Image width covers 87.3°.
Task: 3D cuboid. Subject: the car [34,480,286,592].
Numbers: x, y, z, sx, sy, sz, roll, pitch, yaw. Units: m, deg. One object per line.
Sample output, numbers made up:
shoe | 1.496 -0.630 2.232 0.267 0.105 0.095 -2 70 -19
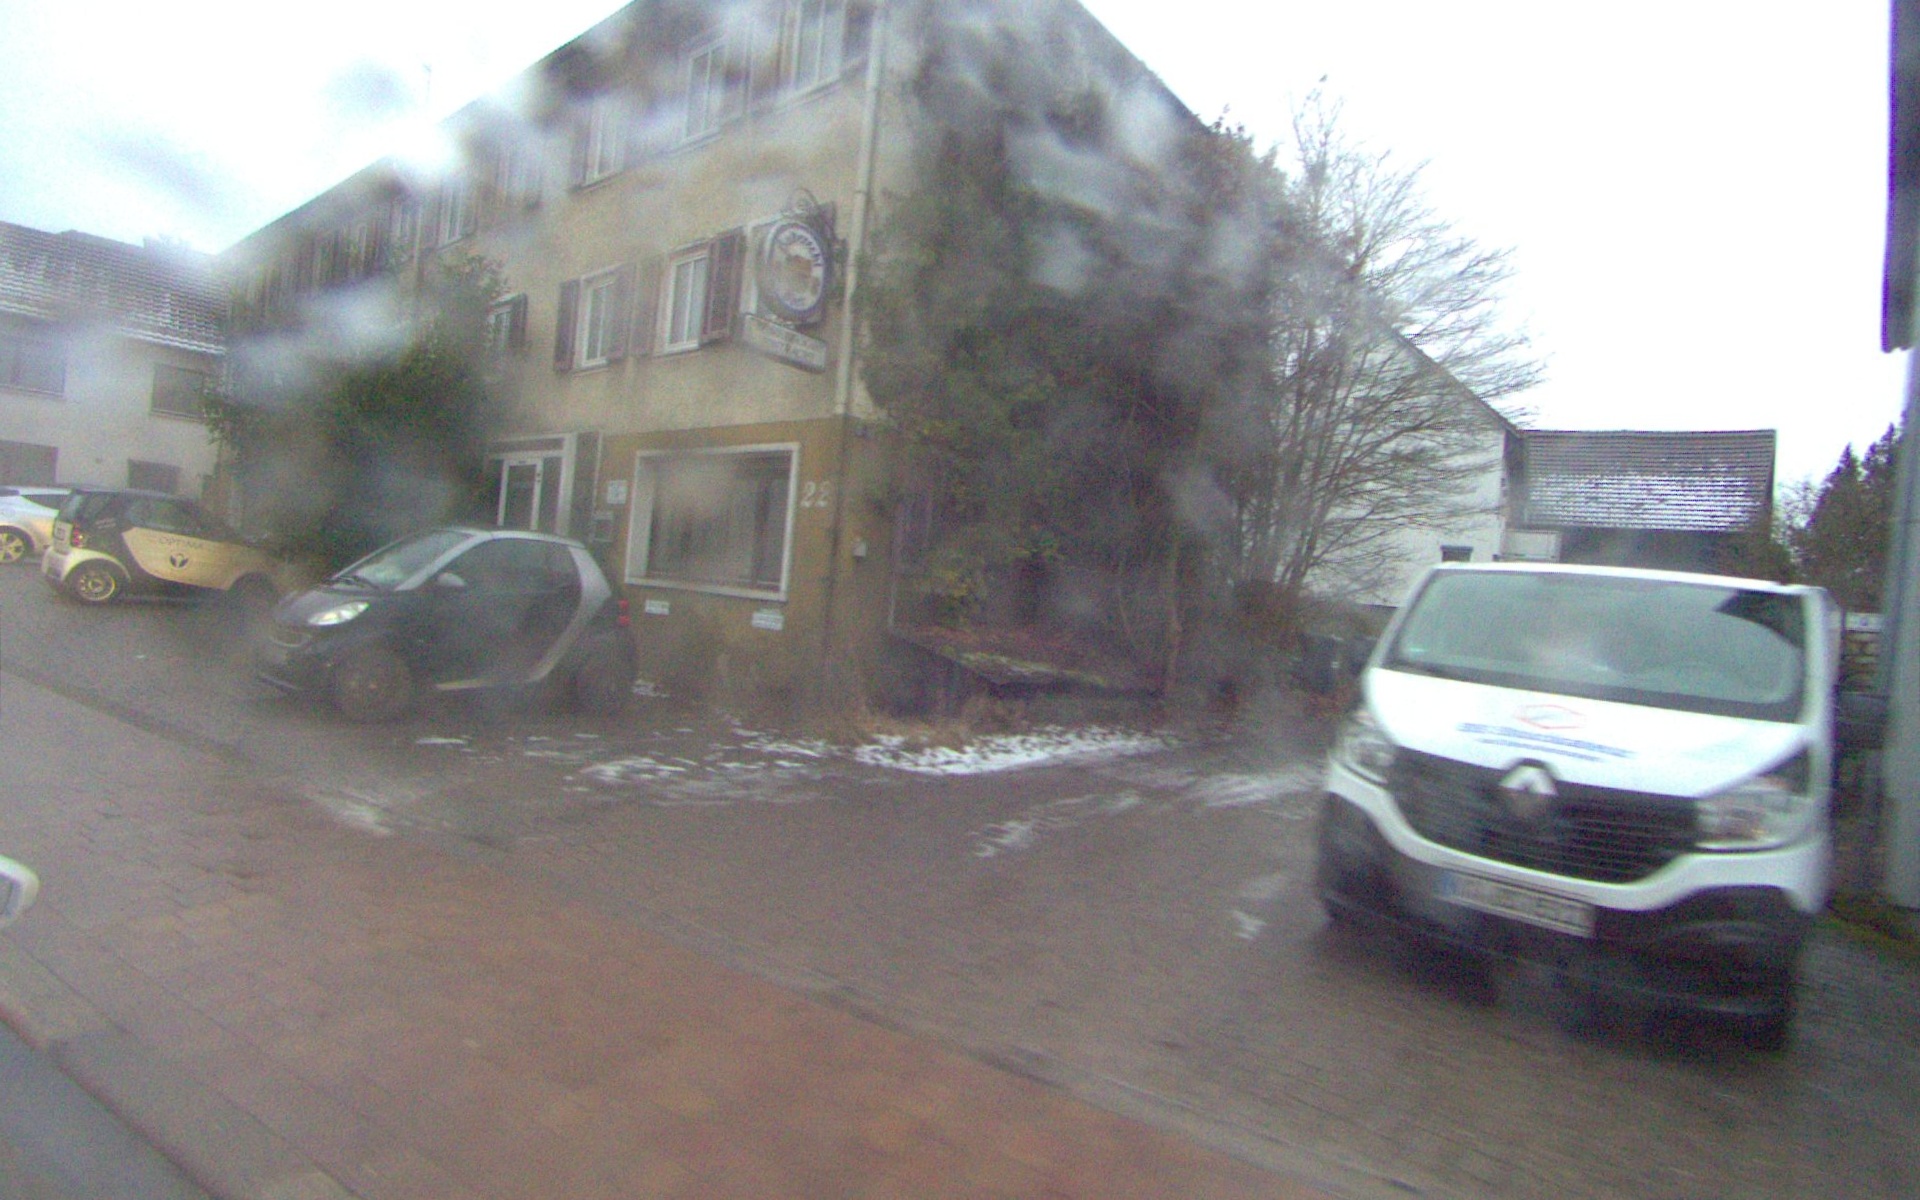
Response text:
car | -13.390 -1.035 16.937 1.528 1.493 3.058 7 2 41

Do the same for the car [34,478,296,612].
car | -11.245 -0.747 14.314 1.528 1.567 2.580 8 2 38

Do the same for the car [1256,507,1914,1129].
car | 3.654 0.760 5.740 1.908 1.914 4.974 8 2 38

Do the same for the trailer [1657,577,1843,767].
trailer | 12.692 1.011 16.079 1.815 2.553 3.972 6 4 43

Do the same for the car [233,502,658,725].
car | -4.172 0.128 8.406 1.406 1.493 2.759 7 2 39

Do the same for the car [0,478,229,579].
car | -16.259 -1.340 18.787 1.726 1.493 3.892 7 1 41

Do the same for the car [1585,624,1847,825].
car | 8.478 1.198 11.142 1.855 1.644 3.975 7 3 42
